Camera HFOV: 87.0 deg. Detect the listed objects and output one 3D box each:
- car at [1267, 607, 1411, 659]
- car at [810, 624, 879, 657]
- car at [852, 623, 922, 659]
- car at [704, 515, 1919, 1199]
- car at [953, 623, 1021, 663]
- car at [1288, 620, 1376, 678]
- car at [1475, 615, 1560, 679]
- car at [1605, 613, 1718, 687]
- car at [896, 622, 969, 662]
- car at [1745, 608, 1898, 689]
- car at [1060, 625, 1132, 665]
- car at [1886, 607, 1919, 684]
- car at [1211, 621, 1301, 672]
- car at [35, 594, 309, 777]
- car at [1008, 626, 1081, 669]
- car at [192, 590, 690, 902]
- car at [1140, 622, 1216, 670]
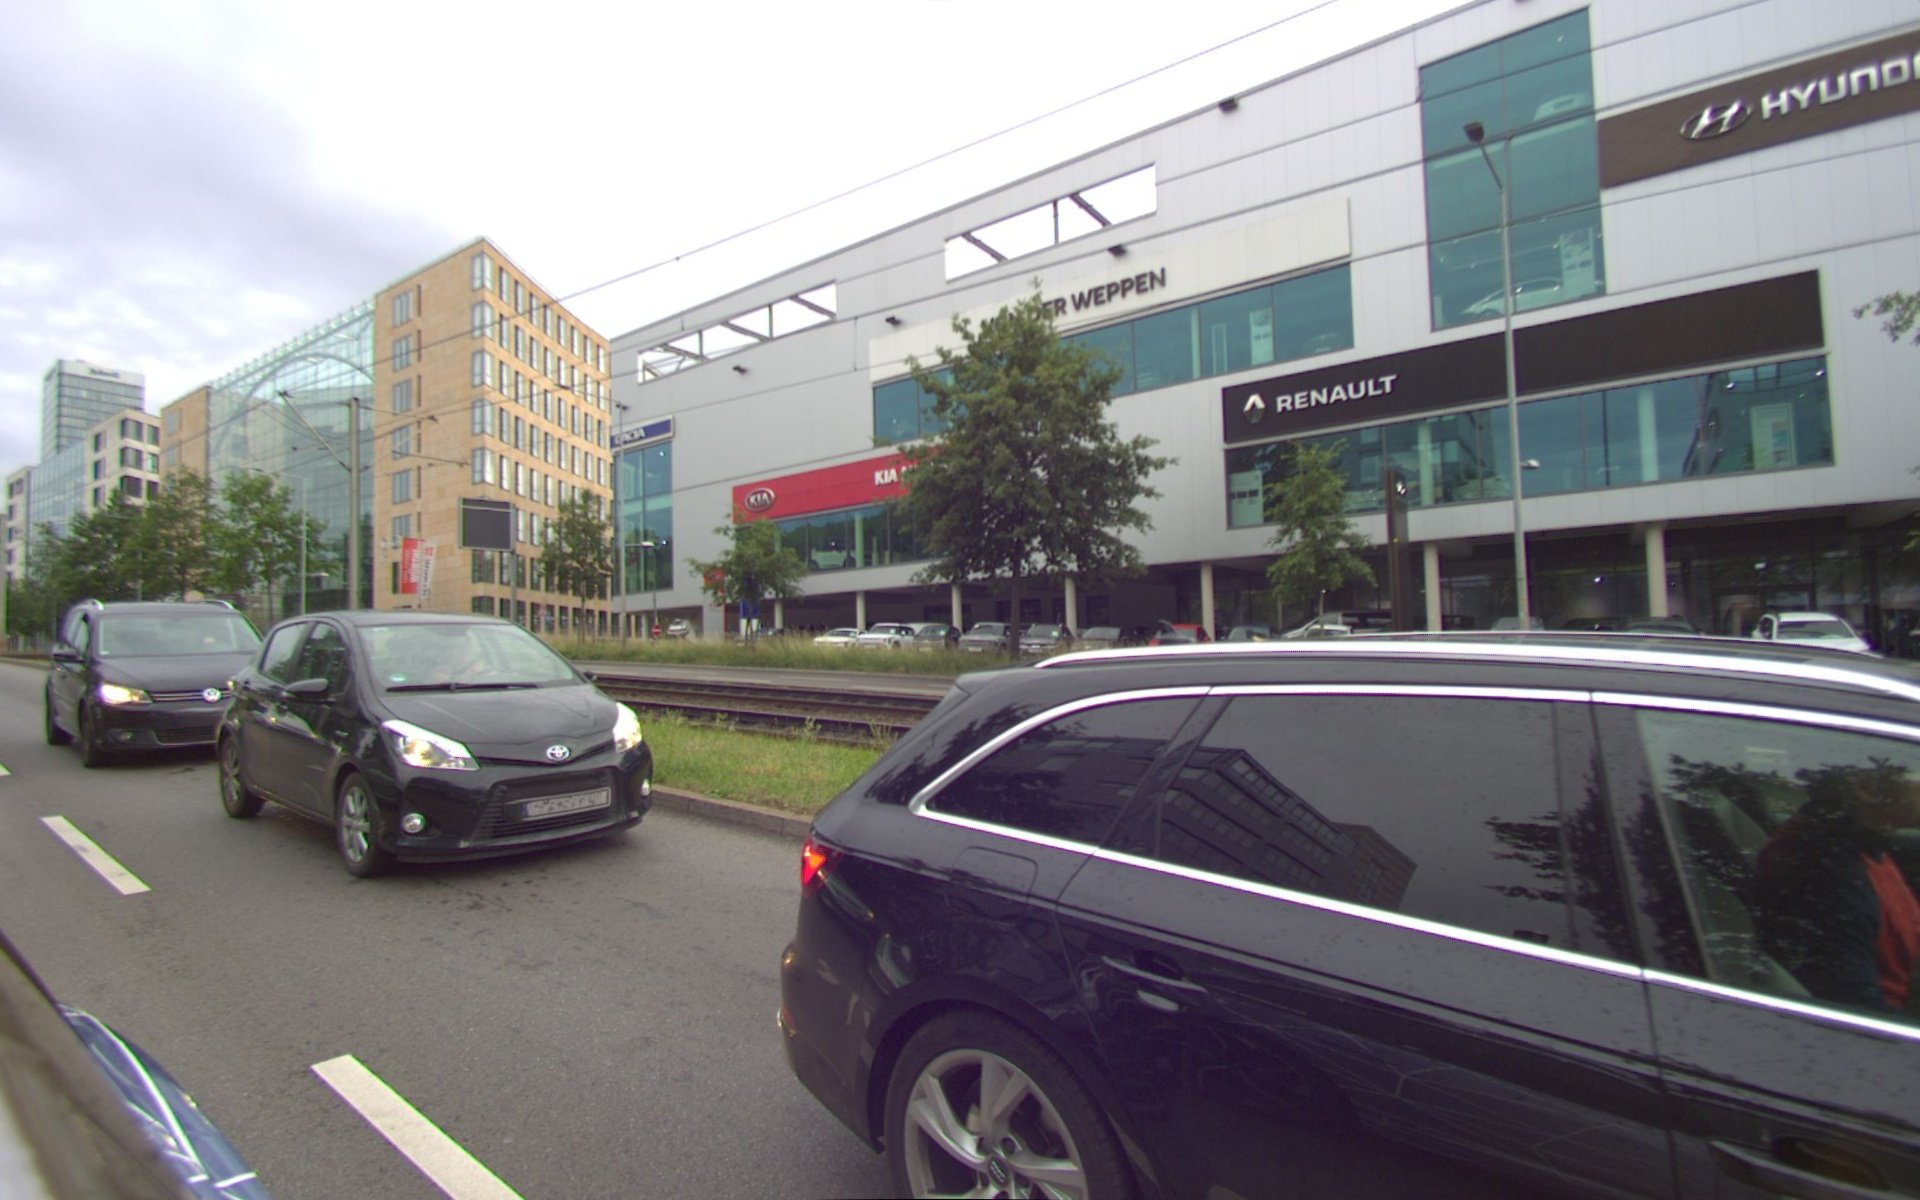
[{"bbox_3d":[13.675,1.200,36.754,4.488,1.796,1.997,-1,-1,5],"label":"car"},{"bbox_3d":[-5.067,1.778,44.903,1.685,1.196,3.643,-1,1,18],"label":"car"},{"bbox_3d":[-3.077,1.722,43.226,1.685,1.304,3.643,-1,1,18],"label":"car"},{"bbox_3d":[1.624,0.652,1.736,4.511,1.478,1.762,-1,-1,41],"label":"car"},{"bbox_3d":[1.101,1.676,39.973,1.686,1.362,3.503,-1,1,20],"label":"car"},{"bbox_3d":[11.666,1.472,31.604,1.914,1.470,4.005,-1,1,30],"label":"car"},{"bbox_3d":[15.573,1.257,28.227,1.925,1.470,3.981,-1,1,30],"label":"car"},{"bbox_3d":[17.772,1.198,25.840,1.992,1.561,4.331,-1,1,30],"label":"car"},{"bbox_3d":[-1.070,1.682,41.294,1.688,1.362,3.499,-1,1,23],"label":"car"},{"bbox_3d":[20.311,1.069,24.063,1.992,1.561,4.331,-1,1,30],"label":"car"},{"bbox_3d":[4.963,1.596,36.584,1.689,1.190,3.498,-1,1,24],"label":"car"},{"bbox_3d":[22.535,1.044,22.477,1.992,1.627,4.331,-1,1,30],"label":"car"},{"bbox_3d":[9.792,1.483,33.301,1.914,1.362,4.005,-1,1,30],"label":"car"},{"bbox_3d":[-8.767,0.789,11.110,4.318,1.619,1.762,-1,-1,44],"label":"car"},{"bbox_3d":[3.215,1.736,38.045,1.689,1.362,3.498,-1,1,24],"label":"car"},{"bbox_3d":[-3.680,0.753,6.900,3.823,1.544,1.683,-1,-1,40],"label":"car"},{"bbox_3d":[7.529,1.543,34.705,1.789,1.362,3.903,-1,1,24],"label":"car"}]
